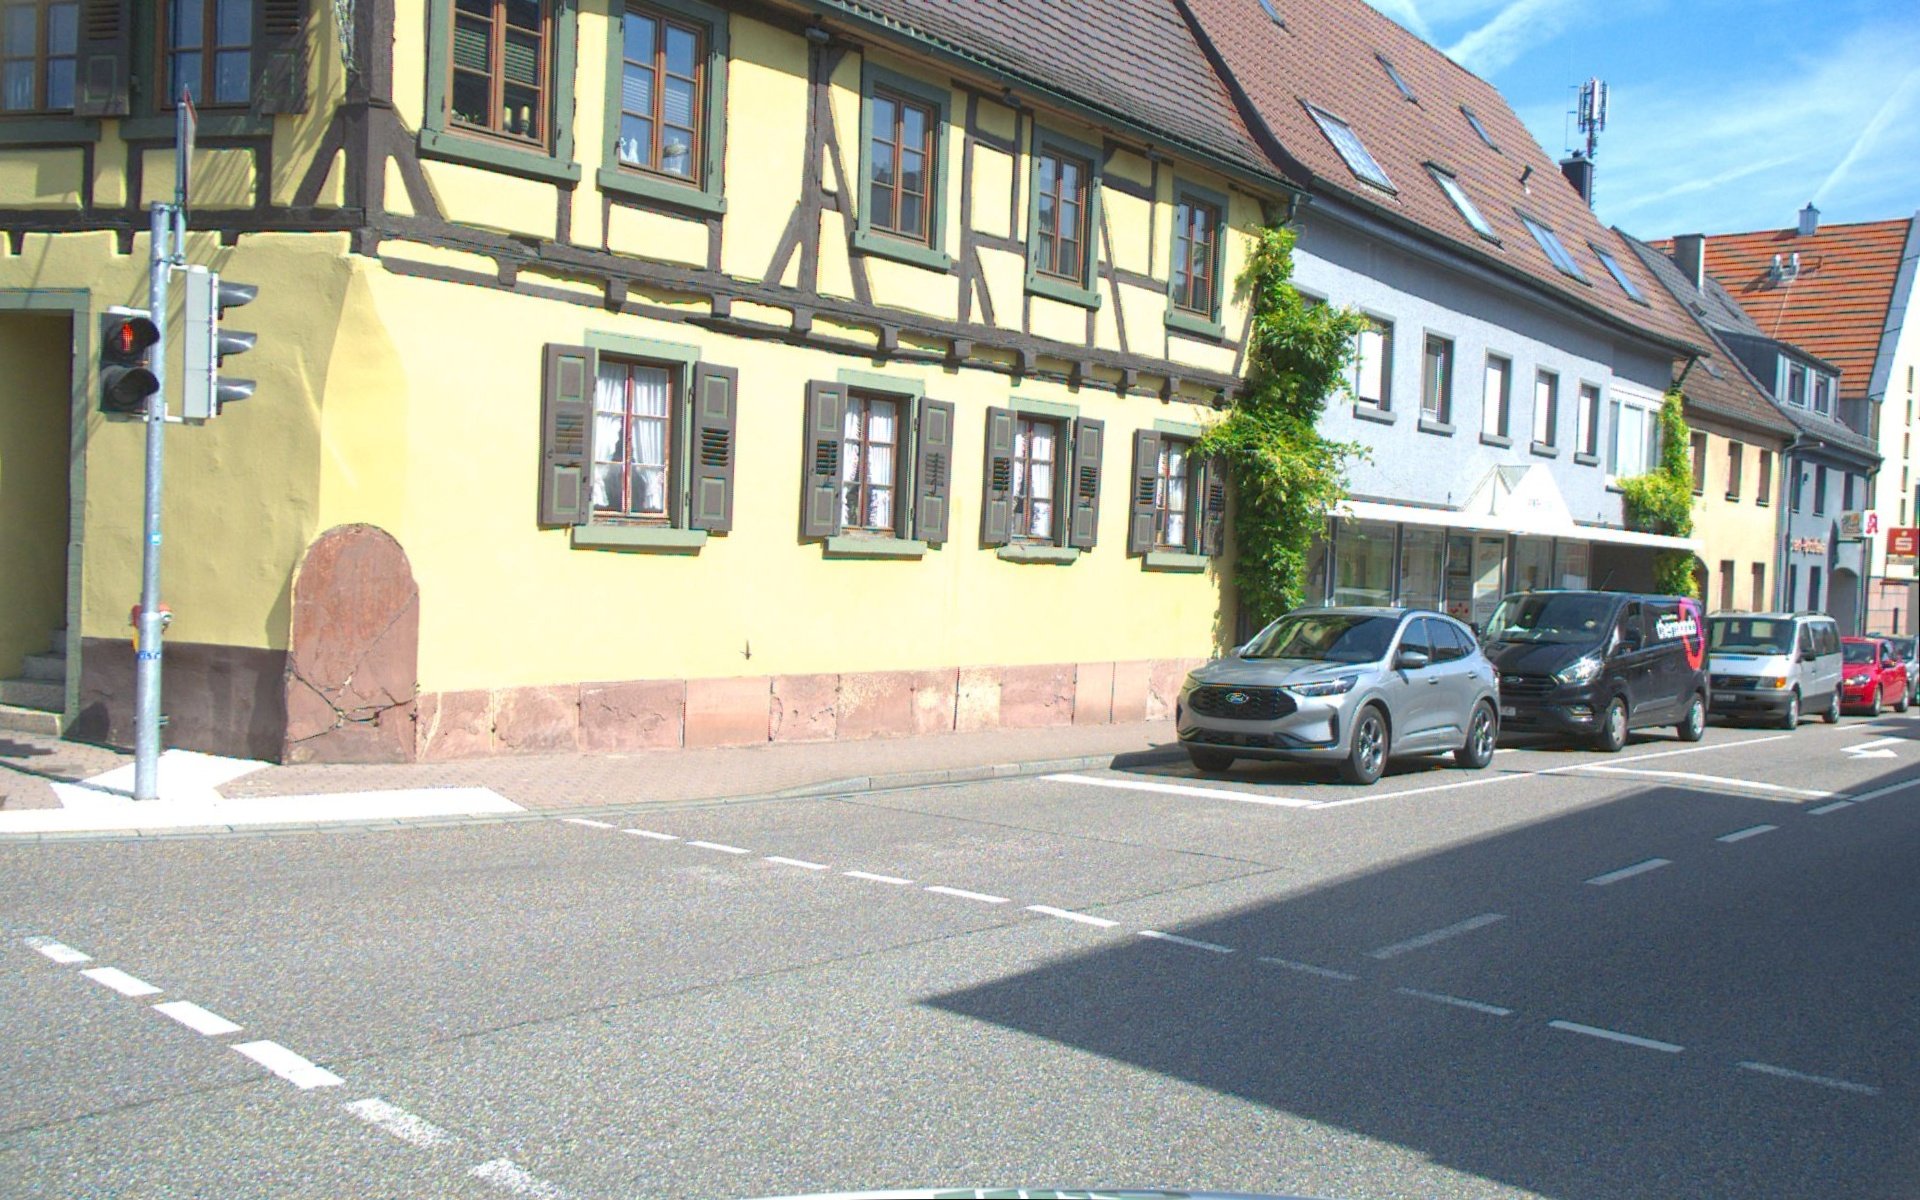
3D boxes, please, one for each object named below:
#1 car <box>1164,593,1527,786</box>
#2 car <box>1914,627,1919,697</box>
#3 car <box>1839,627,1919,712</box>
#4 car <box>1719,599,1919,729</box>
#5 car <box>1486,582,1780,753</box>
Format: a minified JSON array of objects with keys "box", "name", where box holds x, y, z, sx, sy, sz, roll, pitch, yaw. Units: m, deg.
[{"box":[3.953,0.804,16.414,1.728,1.638,4.405,1,-1,40],"name":"car"},{"box":[23.305,1.448,37.901,1.606,1.547,3.993,2,0,43],"name":"car"},{"box":[18.630,1.329,32.215,1.733,1.518,4.051,2,0,42],"name":"car"},{"box":[14.240,1.018,27.289,1.856,1.924,4.524,1,0,42],"name":"car"},{"box":[8.930,0.816,21.650,2.126,1.957,5.138,1,-1,40],"name":"car"}]
